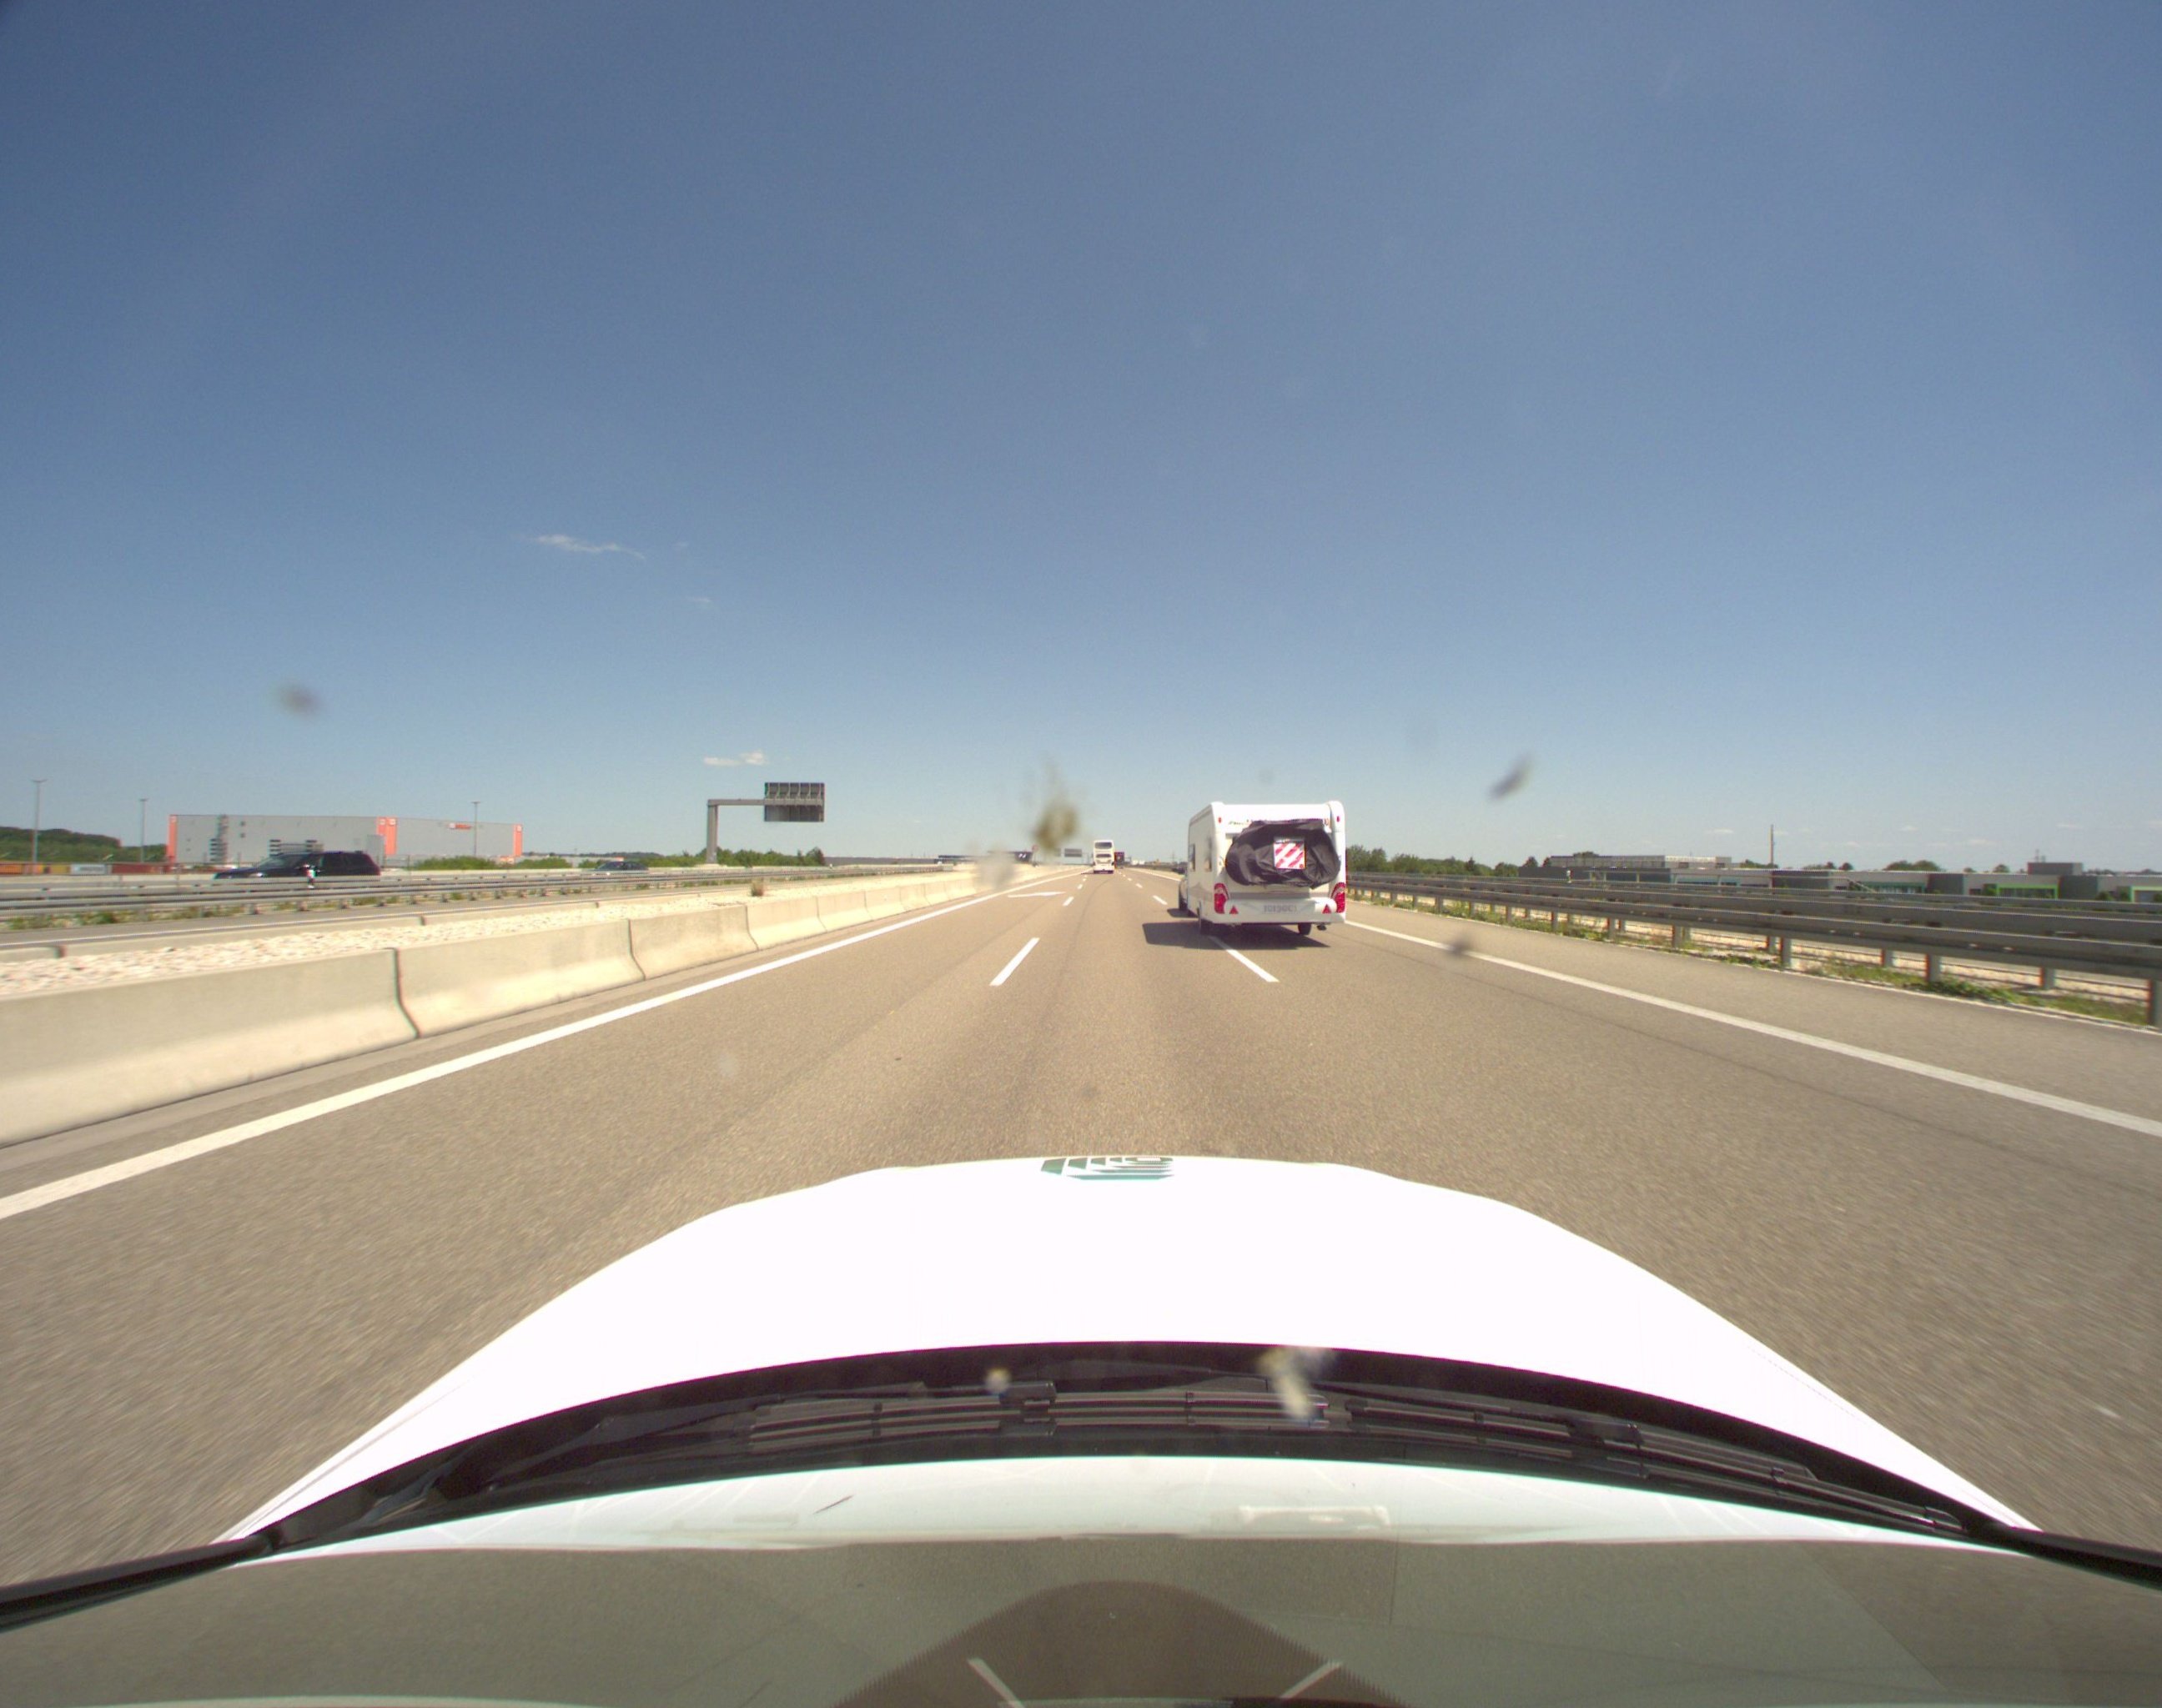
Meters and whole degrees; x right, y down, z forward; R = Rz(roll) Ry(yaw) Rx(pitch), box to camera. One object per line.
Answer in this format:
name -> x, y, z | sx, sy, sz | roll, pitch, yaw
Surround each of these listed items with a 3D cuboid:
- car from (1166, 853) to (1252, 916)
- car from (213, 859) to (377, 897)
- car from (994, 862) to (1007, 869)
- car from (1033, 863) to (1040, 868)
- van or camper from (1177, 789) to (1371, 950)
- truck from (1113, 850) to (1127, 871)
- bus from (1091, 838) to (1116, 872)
car -> 3.534, 0.791, 23.369 | 1.873, 1.623, 4.906 | 0, 0, 2
car -> -30.369, 0.878, 31.696 | 1.985, 1.379, 4.366 | 0, 0, 4
car -> -14.830, 2.101, 149.661 | 1.803, 1.435, 4.443 | 0, -1, 1
car -> -12.409, 3.238, 226.727 | 1.726, 1.537, 4.550 | 0, -1, 1
van or camper -> 3.582, 0.271, 17.083 | 2.502, 2.593, 7.821 | 0, 0, 2
truck -> 9.577, 1.604, 201.436 | 3.366, 4.465, 13.573 | 0, -3, 3
bus -> 2.721, 0.143, 101.521 | 2.970, 3.975, 9.103 | 0, 0, 0
